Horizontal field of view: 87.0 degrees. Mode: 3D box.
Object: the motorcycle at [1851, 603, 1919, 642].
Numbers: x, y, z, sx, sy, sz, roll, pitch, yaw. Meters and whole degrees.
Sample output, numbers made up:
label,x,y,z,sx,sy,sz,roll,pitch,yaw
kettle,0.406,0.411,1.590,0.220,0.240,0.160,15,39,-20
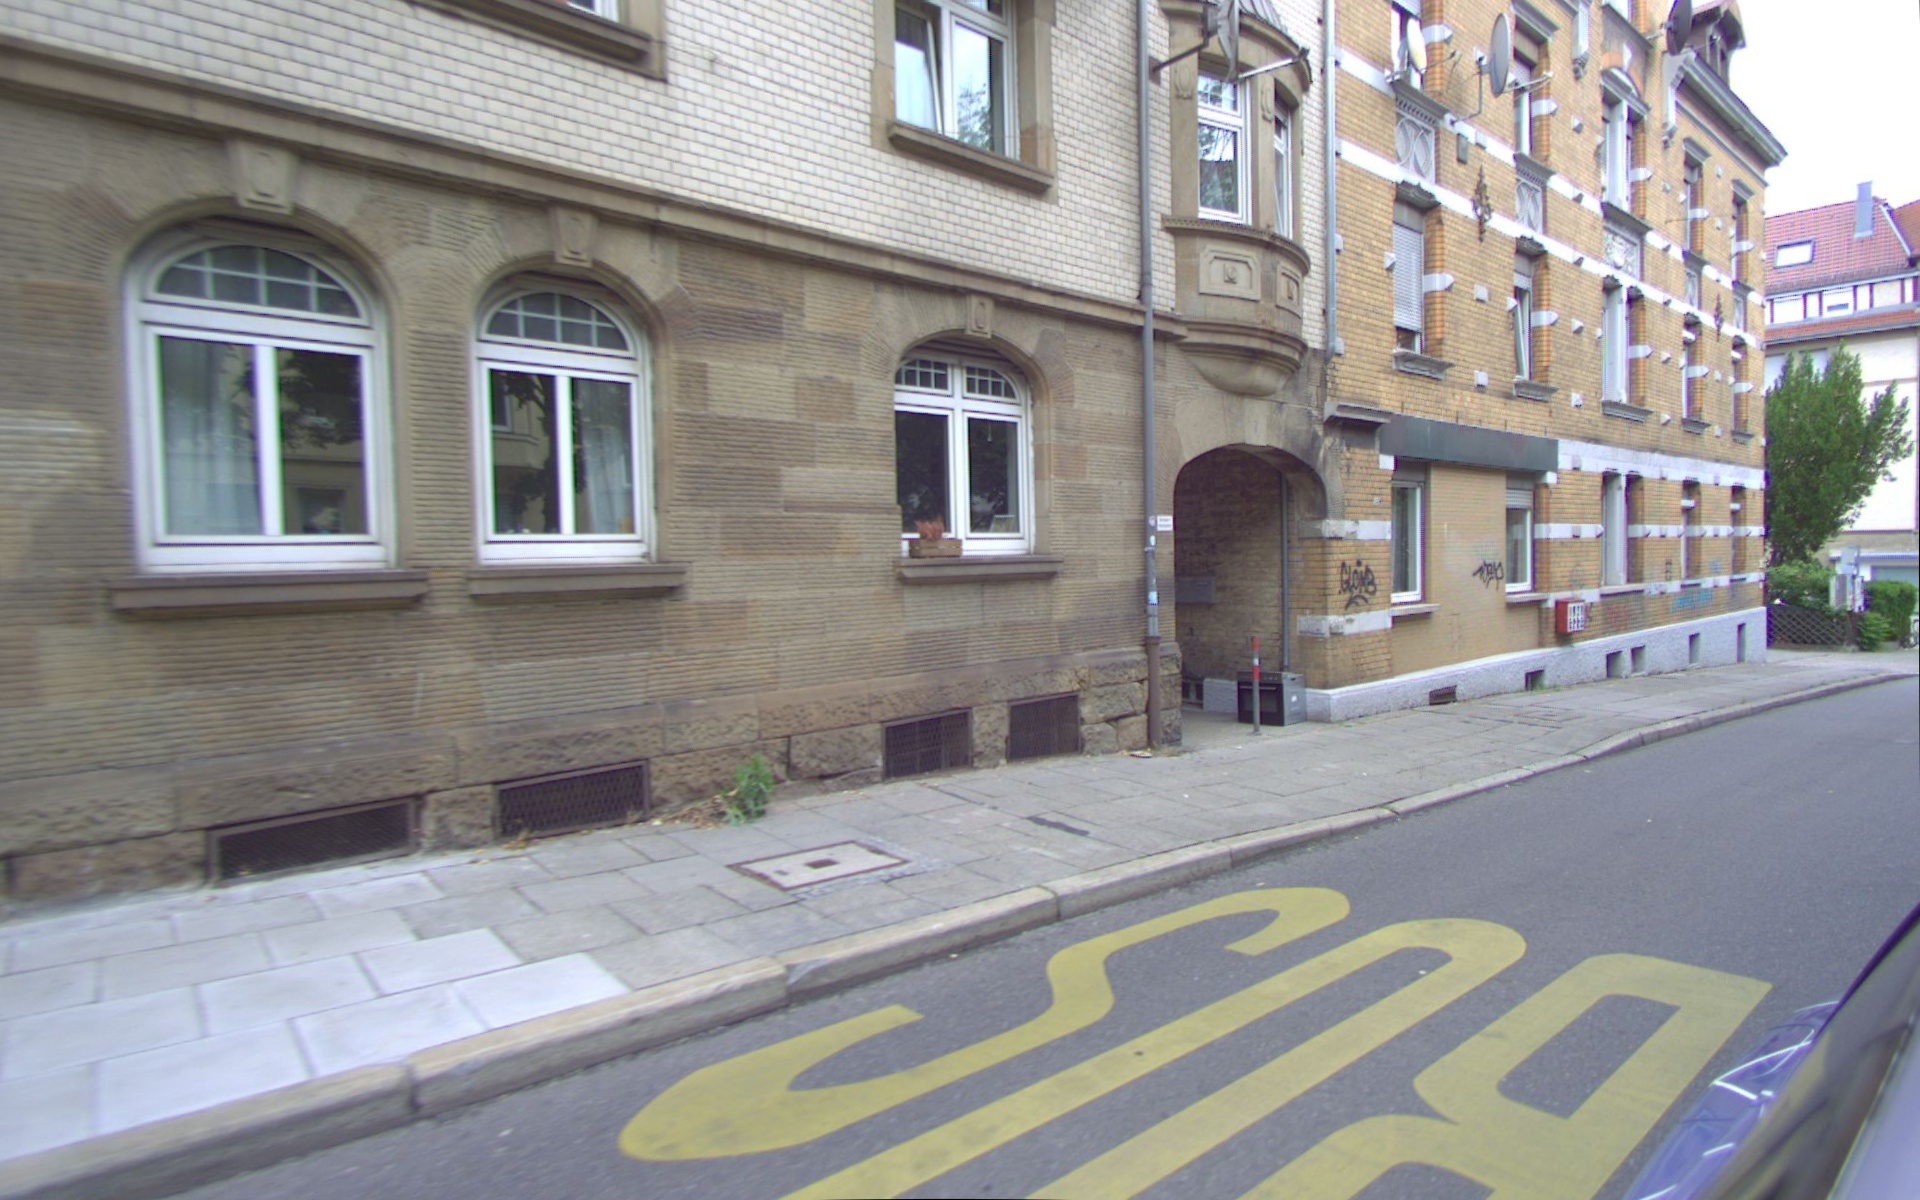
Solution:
label,x,y,z,sx,sy,sz,roll,pitch,yaw
motorcycle,31.607,0.754,34.228,0.992,1.284,2.059,1,-1,-39
